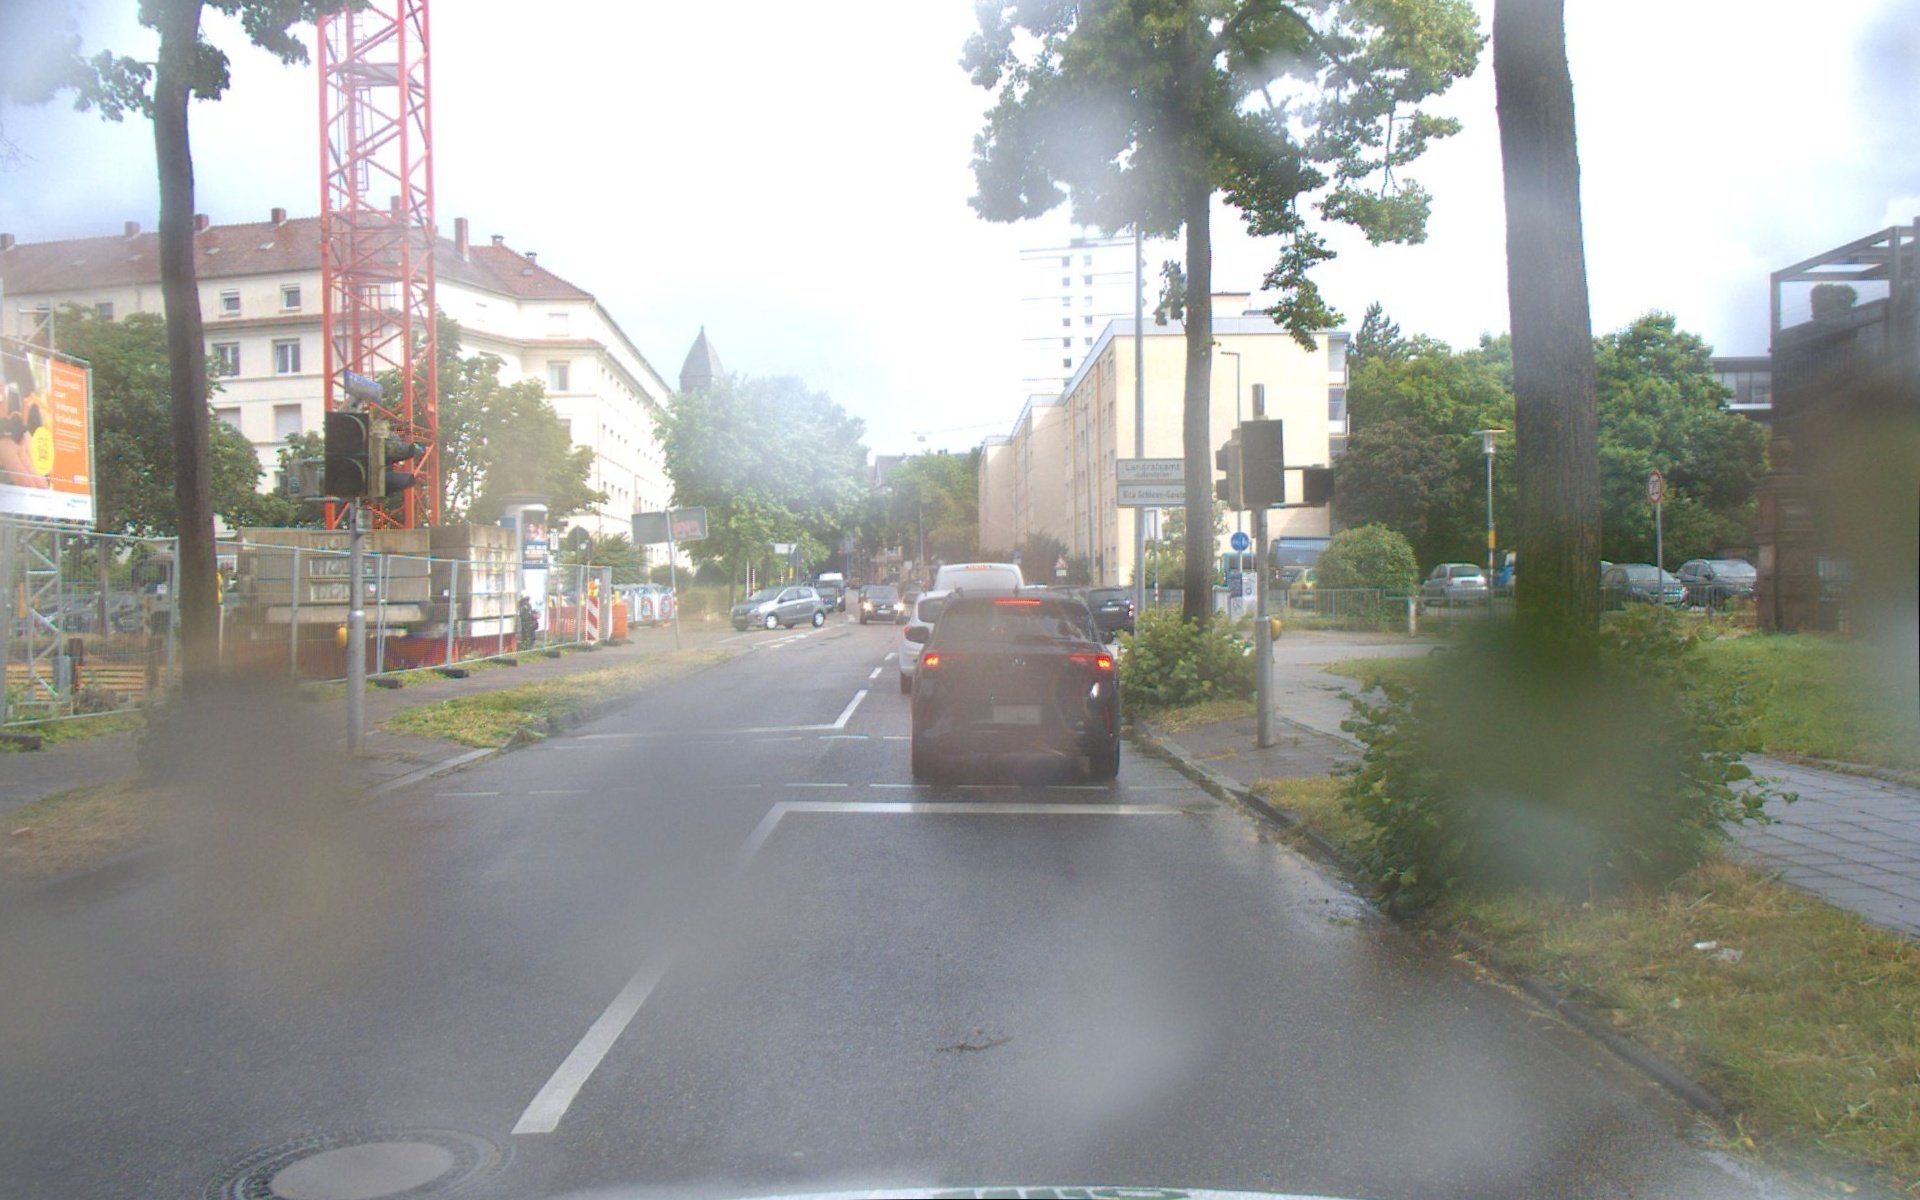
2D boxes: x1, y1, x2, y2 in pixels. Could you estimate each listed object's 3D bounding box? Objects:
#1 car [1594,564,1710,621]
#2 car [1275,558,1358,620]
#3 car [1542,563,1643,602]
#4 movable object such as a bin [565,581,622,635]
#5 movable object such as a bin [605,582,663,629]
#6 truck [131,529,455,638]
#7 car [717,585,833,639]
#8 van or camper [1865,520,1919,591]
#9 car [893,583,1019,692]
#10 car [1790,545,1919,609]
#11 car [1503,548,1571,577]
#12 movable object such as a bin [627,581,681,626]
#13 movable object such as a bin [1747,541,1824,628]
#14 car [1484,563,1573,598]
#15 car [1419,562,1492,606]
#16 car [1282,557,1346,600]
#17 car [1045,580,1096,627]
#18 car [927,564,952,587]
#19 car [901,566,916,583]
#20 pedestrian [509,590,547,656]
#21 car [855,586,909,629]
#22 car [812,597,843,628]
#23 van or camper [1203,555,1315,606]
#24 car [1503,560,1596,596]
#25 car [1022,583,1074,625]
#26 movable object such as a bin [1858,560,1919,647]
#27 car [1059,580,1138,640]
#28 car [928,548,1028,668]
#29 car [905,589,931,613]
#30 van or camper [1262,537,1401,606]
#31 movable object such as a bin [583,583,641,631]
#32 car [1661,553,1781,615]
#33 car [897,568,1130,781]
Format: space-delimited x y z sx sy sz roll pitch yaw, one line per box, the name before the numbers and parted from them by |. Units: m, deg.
car | 20.288 -0.230 48.691 1.790 1.553 4.426 -2 1 4
car | 11.078 -0.356 51.706 1.766 1.780 4.239 -2 1 2
car | 26.412 -0.740 69.125 3.590 1.512 1.640 -2 0 2
movable object such as a bin | -13.251 0.280 59.840 1.505 1.856 1.264 -1 1 18
movable object such as a bin | -12.411 0.210 62.955 1.505 1.703 1.667 -1 1 18
truck | -22.433 -0.536 55.839 9.603 3.239 3.795 -2 1 13
car | -6.453 0.400 58.037 1.856 1.665 3.988 -6 -2 34
van or camper | 36.588 -1.615 61.438 4.689 2.530 2.257 1 0 -1
car | -0.079 0.549 25.656 1.776 1.529 3.999 1 0 -1
car | 25.657 -0.659 47.139 1.815 1.708 4.424 -2 1 1
car | 31.326 -2.023 89.792 3.158 1.422 1.509 -2 0 2
movable object such as a bin | -11.931 0.139 64.479 1.505 1.691 1.460 -1 1 18
movable object such as a bin | 14.643 -0.274 29.358 0.783 1.482 1.097 -2 1 0
car | 26.433 -0.911 76.934 3.590 1.512 1.640 -2 0 2
car | 18.014 -0.591 60.271 1.615 1.512 3.719 -2 1 2
car | 12.968 -0.787 60.769 1.577 1.474 3.417 -2 1 0
car | 4.005 0.157 60.350 1.720 1.554 4.001 2 -1 3
car | -1.544 -1.846 126.855 1.803 1.636 3.676 -3 1 0
car | -5.941 -2.976 191.069 1.632 1.870 3.998 -2 1 -3
pedestrian | -10.994 0.576 42.077 0.716 1.658 0.675 1 -1 -38
car | -2.984 0.285 63.914 1.776 1.567 3.982 -1 0 1
car | -7.123 0.632 88.631 1.555 1.532 4.060 -2 1 -5
van or camper | 13.446 -0.896 74.632 4.660 2.168 2.323 -1 1 3
car | 26.509 -0.994 74.441 3.590 1.512 1.640 -2 0 2
car | 3.442 0.145 65.436 1.573 1.534 4.157 -3 0 -3
movable object such as a bin | 16.995 0.044 29.574 1.083 1.482 1.391 -2 1 0
car | 4.043 0.251 48.768 1.738 1.566 4.376 -3 1 -2
car | 0.368 0.155 32.027 1.798 2.139 4.000 1 0 1
car | -3.062 0.051 120.370 1.705 1.636 3.676 -3 1 0
van or camper | 14.376 -1.083 64.241 4.895 2.599 2.175 -1 0 0
movable object such as a bin | -12.921 0.259 61.386 1.505 1.685 1.529 -1 1 18
car | 22.497 -0.492 49.075 1.814 1.708 4.426 -2 1 5
car | 0.401 0.599 15.182 1.835 1.674 4.061 1 0 -1
